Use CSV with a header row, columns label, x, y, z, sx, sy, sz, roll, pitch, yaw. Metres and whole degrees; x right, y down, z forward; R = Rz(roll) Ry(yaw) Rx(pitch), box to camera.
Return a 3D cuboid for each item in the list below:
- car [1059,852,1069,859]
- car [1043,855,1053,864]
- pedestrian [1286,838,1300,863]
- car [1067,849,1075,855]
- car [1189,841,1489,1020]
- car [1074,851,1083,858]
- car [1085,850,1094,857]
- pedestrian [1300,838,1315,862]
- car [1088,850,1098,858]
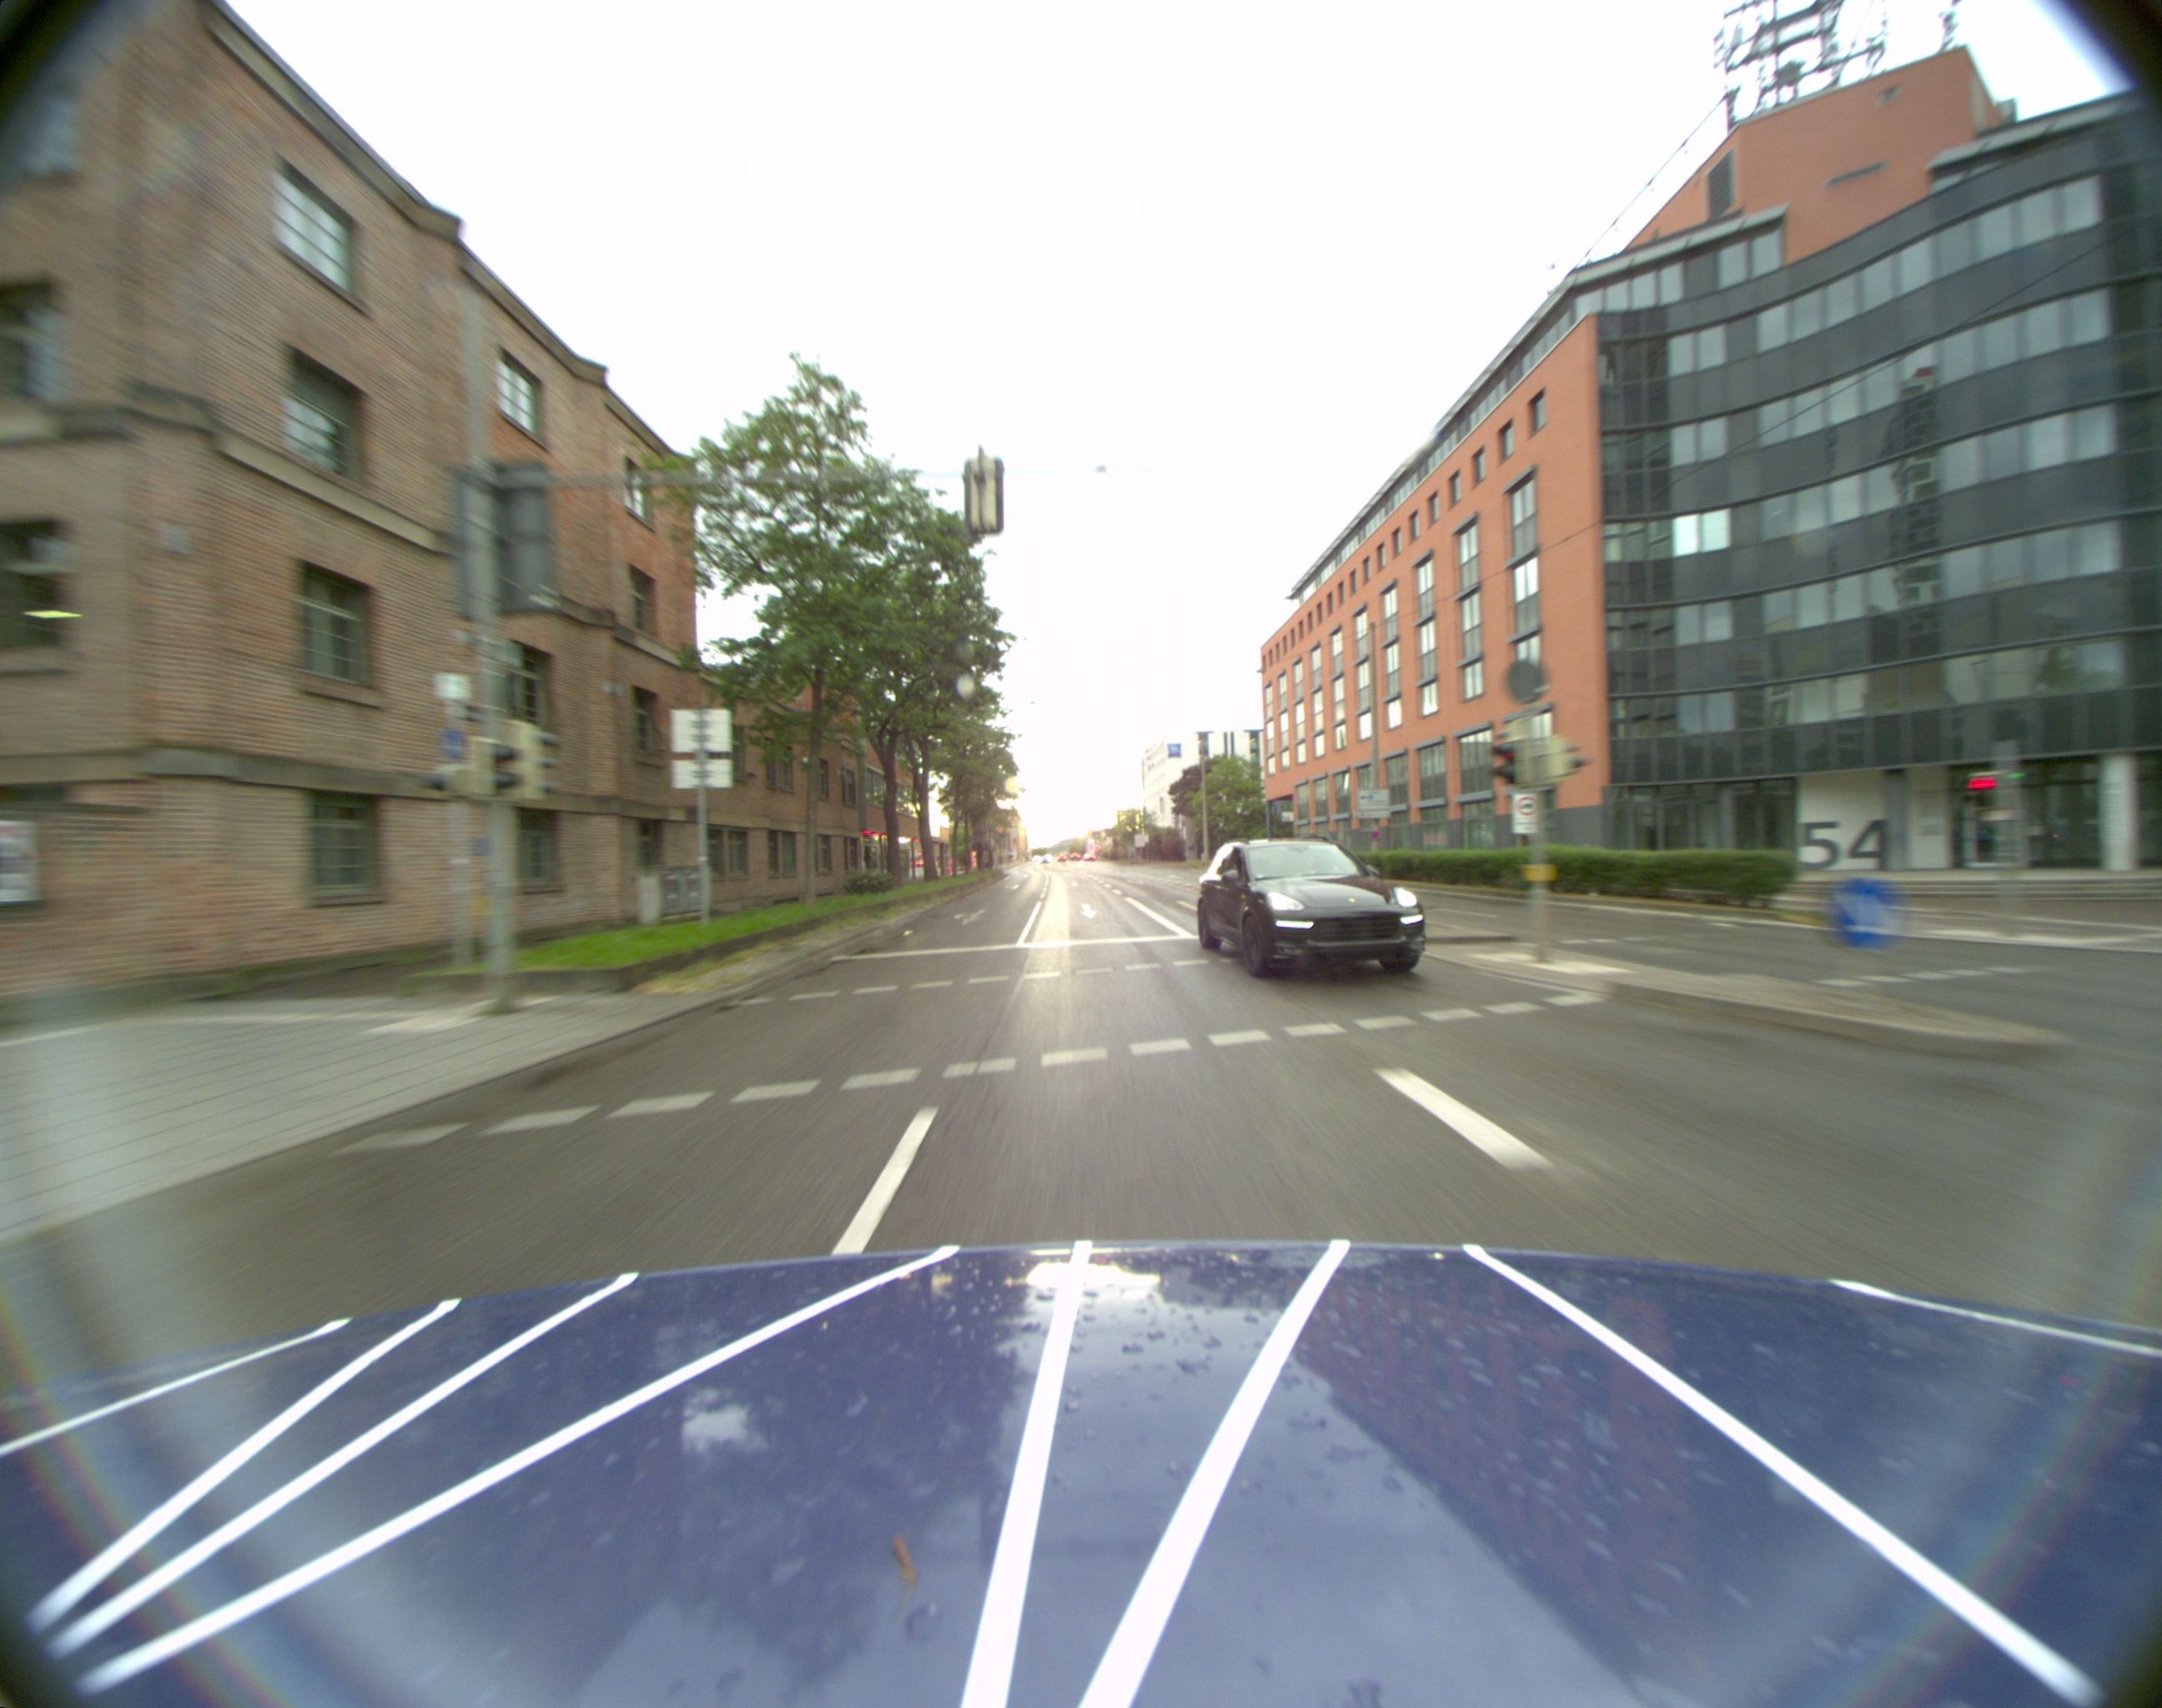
label,x,y,z,sx,sy,sz,roll,pitch,yaw
car,-3.724,0.348,164.764,1.999,1.543,3.999,-2,1,-2
car,-6.075,0.978,139.957,1.799,1.501,4.000,-1,0,-2
pedestrian,16.327,-0.255,58.578,0.748,1.830,0.885,-3,1,-2
car,-2.859,-0.518,216.113,1.999,1.543,3.999,-2,1,-2
car,2.869,0.734,10.003,1.999,1.656,5.424,-2,0,-1
car,-0.626,0.181,171.838,1.999,1.543,3.999,-2,1,-2
car,2.028,-0.100,180.505,1.767,1.559,3.998,0,0,-3
pedestrian,17.320,-0.293,58.122,0.748,1.830,0.885,-3,1,-2
car,2.562,-0.017,162.843,1.767,1.559,3.998,0,0,-4
